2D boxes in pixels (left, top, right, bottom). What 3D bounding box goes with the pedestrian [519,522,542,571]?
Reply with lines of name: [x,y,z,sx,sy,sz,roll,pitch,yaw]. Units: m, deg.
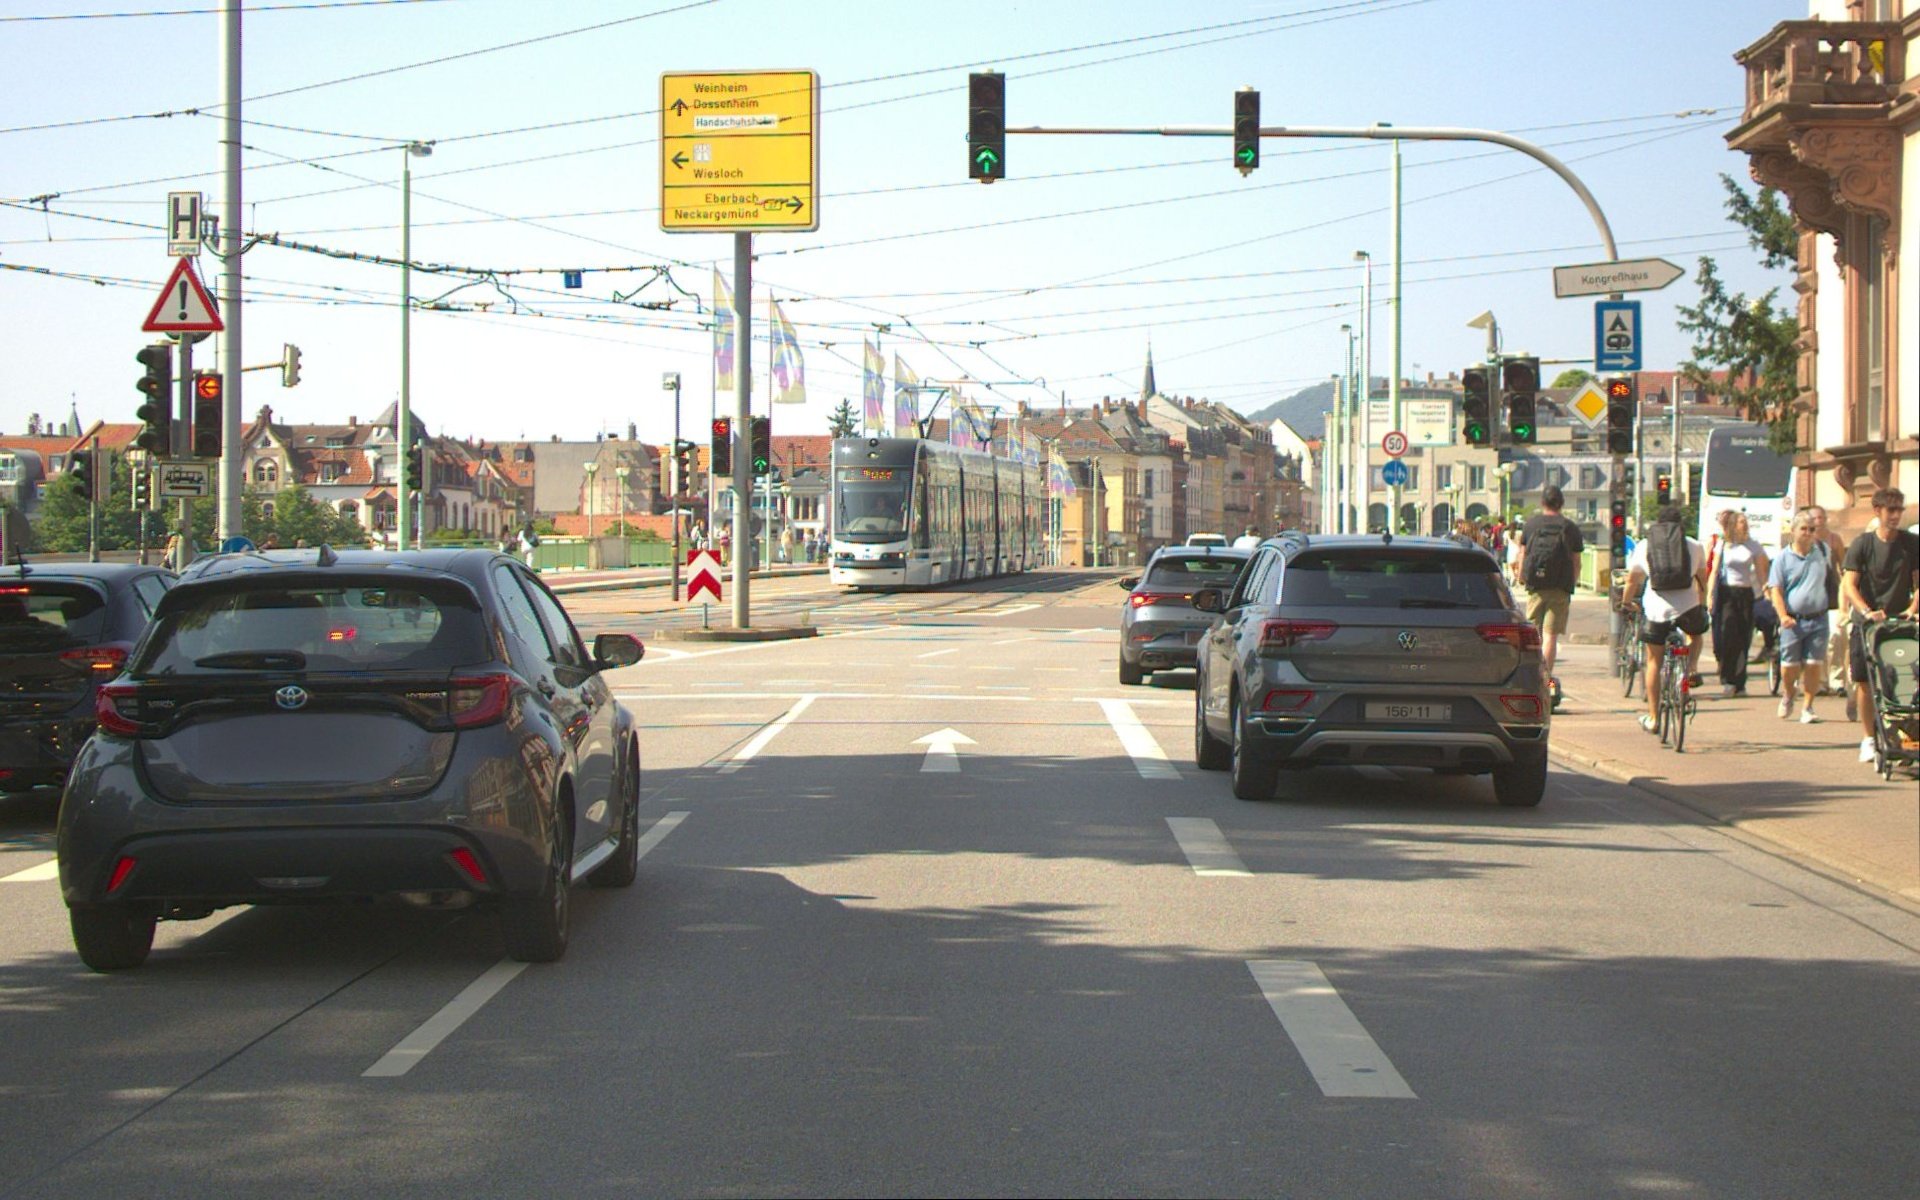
pedestrian: [-12.409,-1.546,99.314,0.558,1.411,0.636,2,0,-1]

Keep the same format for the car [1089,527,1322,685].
car: [2.516,0.039,36.157,1.993,1.487,4.000,2,1,-2]

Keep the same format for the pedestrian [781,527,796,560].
pedestrian: [-7.267,-2.399,146.017,0.558,1.411,0.636,2,0,-1]

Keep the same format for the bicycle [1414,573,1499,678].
bicycle: [5.445,0.268,37.788,0.734,1.089,1.897,2,0,3]

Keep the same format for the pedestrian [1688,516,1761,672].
pedestrian: [8.208,-0.067,36.940,0.576,1.634,0.611,2,0,0]

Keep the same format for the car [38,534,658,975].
car: [-2.241,0.507,13.611,1.777,1.470,4.000,-1,0,-1]

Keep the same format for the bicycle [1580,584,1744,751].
bicycle: [4.908,0.452,24.140,0.734,1.089,1.898,2,0,0]

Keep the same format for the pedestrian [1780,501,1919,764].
pedestrian: [5.859,0.205,22.164,0.862,1.634,0.875,2,0,0]

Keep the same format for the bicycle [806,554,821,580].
bicycle: [-6.338,-1.424,148.812,0.558,1.121,1.223,2,0,-1]

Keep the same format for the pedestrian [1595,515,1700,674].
pedestrian: [7.290,-0.060,36.494,0.862,1.634,0.875,2,0,0]

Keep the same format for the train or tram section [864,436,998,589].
train or tram section: [-0.697,-2.298,91.067,2.823,3.764,8.225,2,1,4]

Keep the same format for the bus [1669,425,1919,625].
bus: [15.192,-0.991,51.765,8.610,2.767,2.980,2,0,-24]

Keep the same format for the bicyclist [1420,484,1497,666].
bicyclist: [5.471,-0.276,37.774,0.688,1.955,0.778,2,0,3]

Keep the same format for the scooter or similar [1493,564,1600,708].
scooter or similar: [4.979,0.294,29.252,0.688,1.163,1.464,2,0,3]

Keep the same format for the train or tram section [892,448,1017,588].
train or tram section: [-0.096,-2.349,99.169,2.823,3.764,8.225,2,1,4]

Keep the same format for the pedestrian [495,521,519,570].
pedestrian: [-13.076,-1.573,99.324,0.558,1.411,0.636,2,0,-1]

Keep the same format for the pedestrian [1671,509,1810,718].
pedestrian: [6.331,0.103,27.930,0.862,1.634,0.875,2,0,0]

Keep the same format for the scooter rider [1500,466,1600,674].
scooter rider: [5.019,-0.255,29.285,0.688,1.723,0.778,2,0,3]

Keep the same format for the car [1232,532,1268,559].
car: [17.211,-3.238,203.911,1.859,1.502,4.000,2,1,2]

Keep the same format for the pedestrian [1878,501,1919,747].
pedestrian: [6.756,0.149,23.222,0.862,1.634,0.876,0,1,0]

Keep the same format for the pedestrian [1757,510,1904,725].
pedestrian: [6.860,0.131,27.119,0.862,1.634,0.875,2,0,0]

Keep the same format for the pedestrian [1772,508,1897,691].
pedestrian: [8.059,-0.011,31.713,0.862,1.634,0.875,2,0,0]

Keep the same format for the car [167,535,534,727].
car: [-4.735,0.213,27.287,2.037,1.328,4.000,2,1,2]

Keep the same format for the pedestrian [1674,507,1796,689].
pedestrian: [7.169,-0.021,31.842,0.862,1.634,0.875,2,0,0]

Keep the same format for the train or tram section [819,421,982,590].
train or tram section: [-1.346,-2.248,82.904,2.823,3.764,8.224,2,1,6]

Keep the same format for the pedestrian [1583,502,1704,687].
pedestrian: [6.249,-0.055,31.471,0.862,1.634,0.875,2,0,0]

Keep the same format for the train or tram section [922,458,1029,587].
train or tram section: [0.543,-2.402,107.490,2.823,3.764,8.225,2,1,3]

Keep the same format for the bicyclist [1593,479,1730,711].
bicyclist: [4.919,-0.038,24.162,0.688,1.571,1.049,2,0,0]

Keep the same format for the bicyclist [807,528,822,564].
bicyclist: [-6.283,-2.354,148.785,0.558,1.531,0.743,2,0,-1]

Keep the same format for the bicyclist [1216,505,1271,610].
bicyclist: [4.347,-0.652,52.719,0.688,1.571,1.049,2,0,0]

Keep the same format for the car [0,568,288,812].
car: [-5.159,0.466,20.340,1.451,1.296,4.000,0,0,2]

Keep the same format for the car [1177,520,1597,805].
car: [2.466,0.324,20.835,1.873,1.487,4.000,2,1,-2]

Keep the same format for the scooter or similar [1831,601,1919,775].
scooter or similar: [5.863,0.545,21.457,0.600,1.044,0.799,2,0,-1]

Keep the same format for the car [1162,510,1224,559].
car: [7.681,-2.150,113.792,1.859,1.502,4.000,2,1,2]
